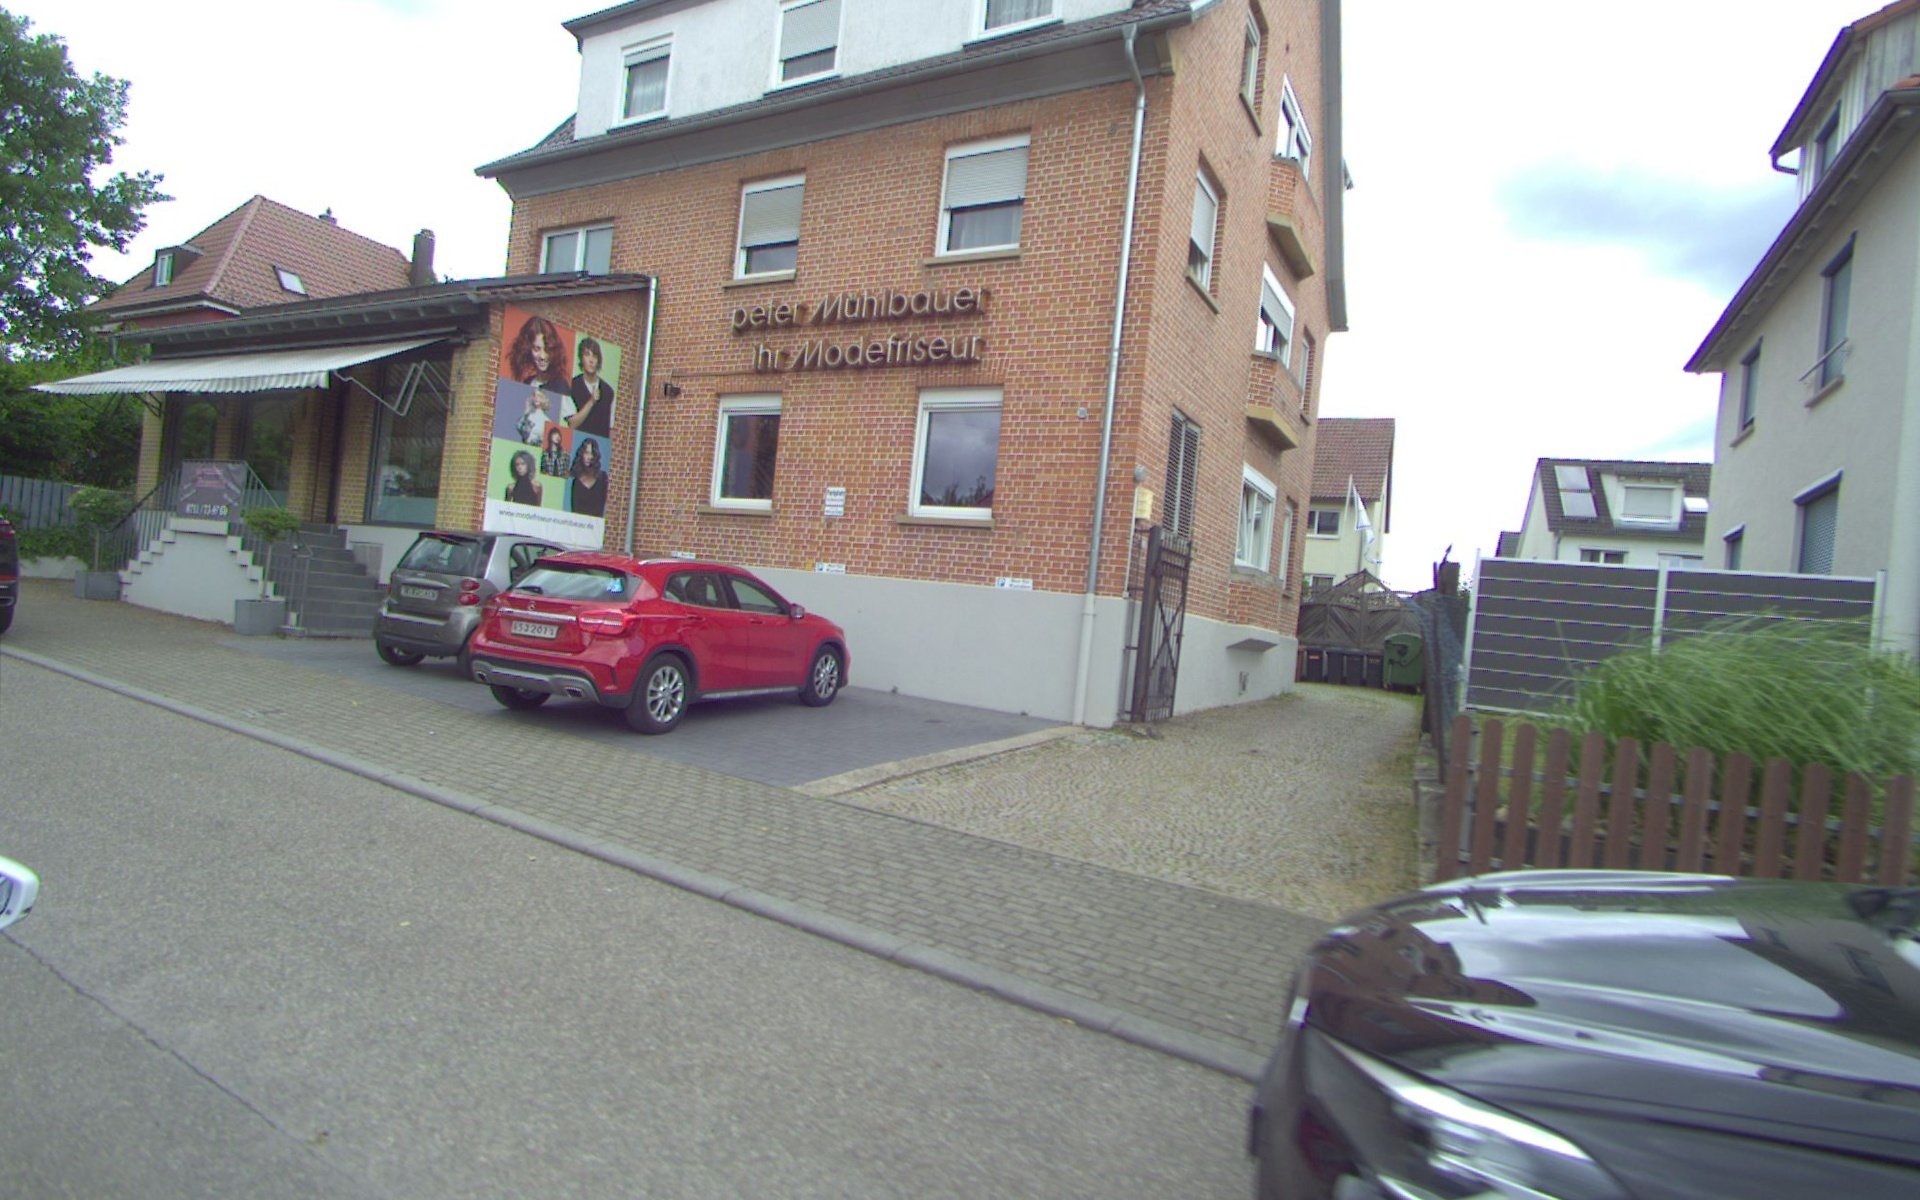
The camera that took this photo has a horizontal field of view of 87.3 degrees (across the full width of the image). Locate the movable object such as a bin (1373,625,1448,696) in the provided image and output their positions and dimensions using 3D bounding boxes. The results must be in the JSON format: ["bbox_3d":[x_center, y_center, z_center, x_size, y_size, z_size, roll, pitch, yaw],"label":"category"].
[{"bbox_3d":[10.874,1.460,24.248,1.405,1.495,1.379,6,-2,30],"label":"movable object such as a bin"}]

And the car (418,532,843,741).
[{"bbox_3d":[-2.991,0.274,10.066,1.777,1.517,3.993,6,2,23],"label":"car"}]

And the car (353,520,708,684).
[{"bbox_3d":[-5.039,0.018,12.397,1.476,1.581,3.992,7,2,25],"label":"car"}]

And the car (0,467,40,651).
[{"bbox_3d":[-11.213,-0.588,10.061,3.933,1.765,1.814,6,0,30],"label":"car"}]

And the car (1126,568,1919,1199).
[{"bbox_3d":[2.438,1.004,1.392,4.028,1.583,1.665,7,0,29],"label":"car"}]
